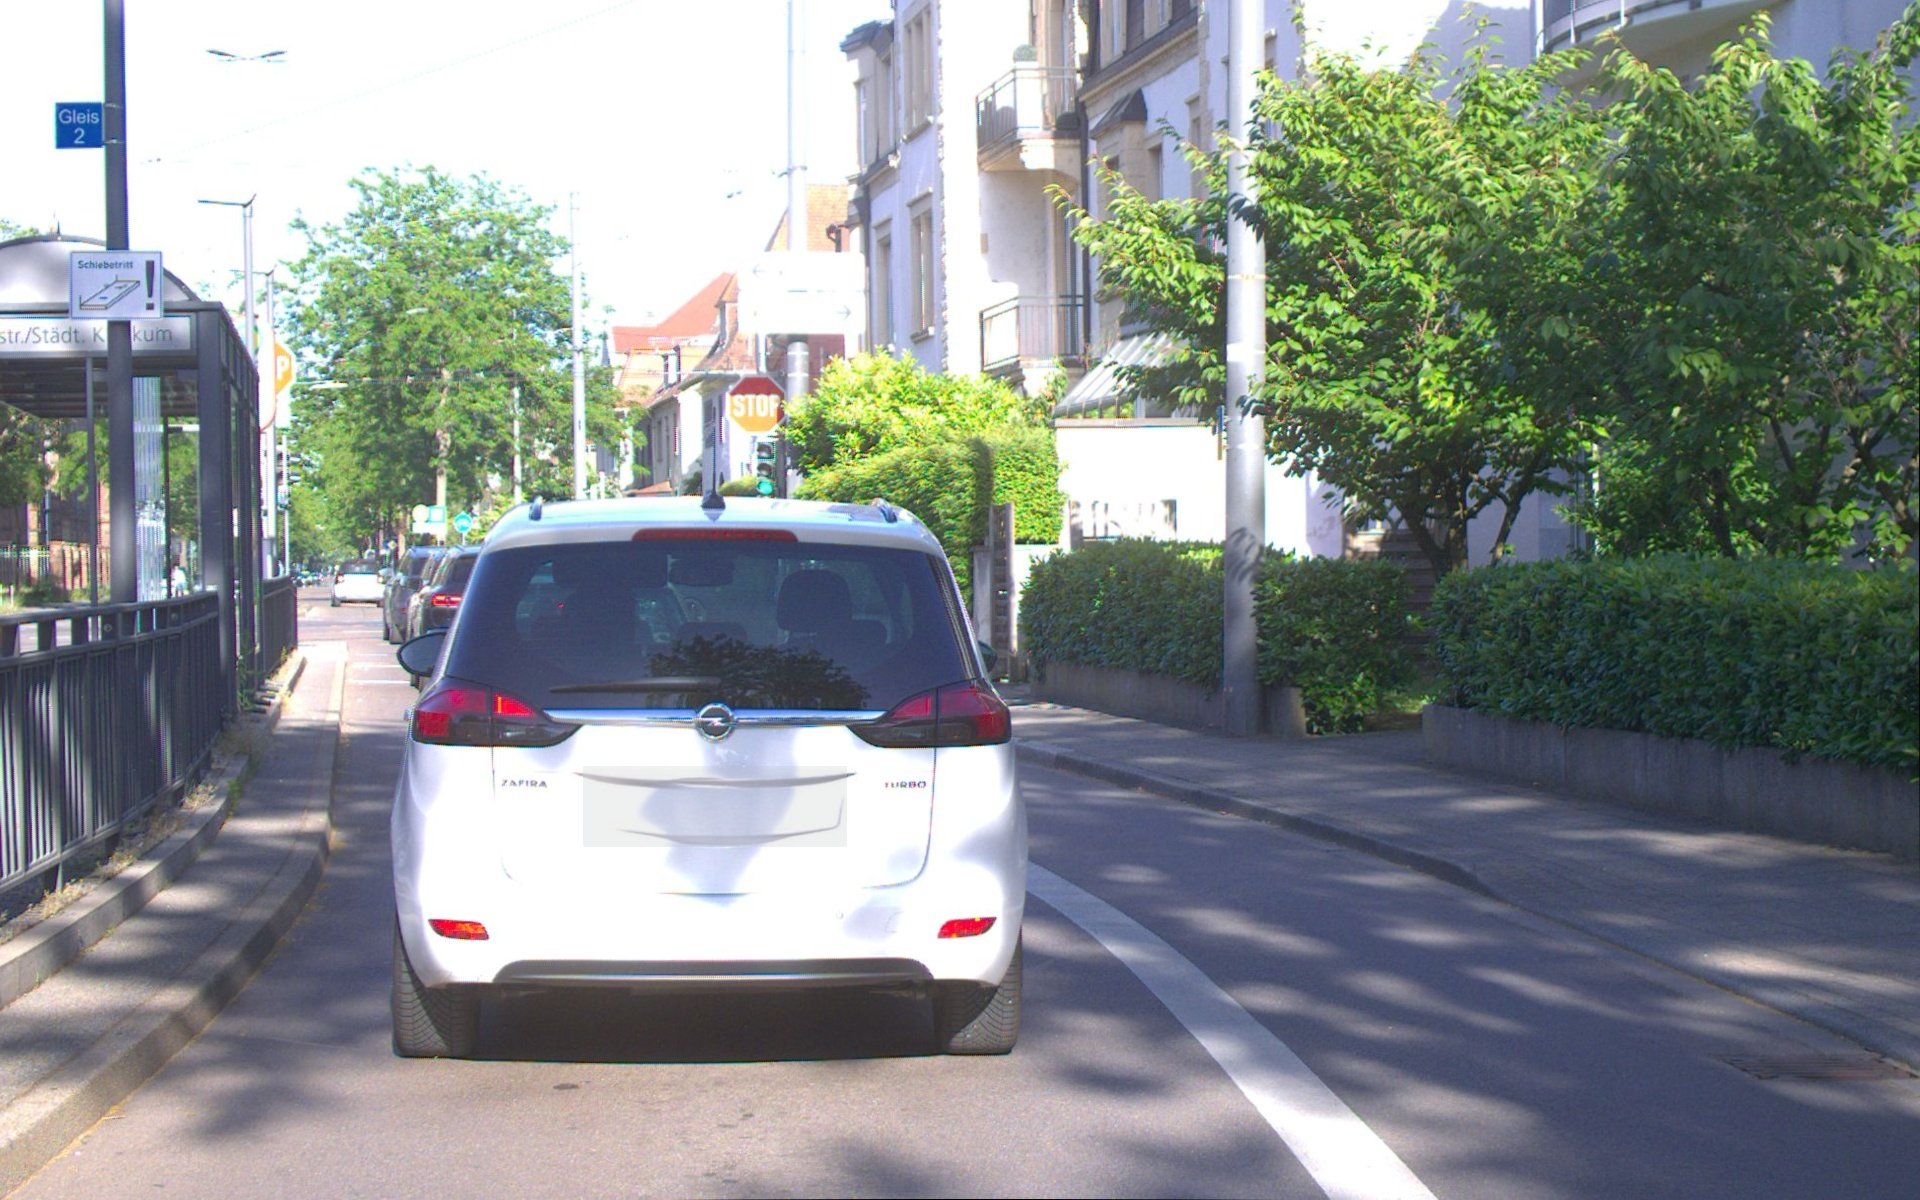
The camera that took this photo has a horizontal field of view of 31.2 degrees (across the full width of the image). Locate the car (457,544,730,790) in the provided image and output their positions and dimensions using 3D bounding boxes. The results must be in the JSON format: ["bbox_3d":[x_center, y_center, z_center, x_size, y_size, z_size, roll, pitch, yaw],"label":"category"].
[{"bbox_3d":[-2.447,0.365,22.402,1.586,1.415,3.901,-1,1,-8],"label":"car"}]

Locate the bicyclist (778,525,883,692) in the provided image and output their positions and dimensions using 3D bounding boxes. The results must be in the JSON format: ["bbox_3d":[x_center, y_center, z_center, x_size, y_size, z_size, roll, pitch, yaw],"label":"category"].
[{"bbox_3d":[-1.190,0.069,31.380,0.821,1.496,0.934,0,0,-10],"label":"bicyclist"}]

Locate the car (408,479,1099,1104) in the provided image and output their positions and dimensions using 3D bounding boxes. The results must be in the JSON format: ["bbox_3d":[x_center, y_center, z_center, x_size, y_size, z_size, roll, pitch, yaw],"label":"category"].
[{"bbox_3d":[-0.845,0.482,11.092,1.834,1.636,3.919,0,0,-9],"label":"car"}]

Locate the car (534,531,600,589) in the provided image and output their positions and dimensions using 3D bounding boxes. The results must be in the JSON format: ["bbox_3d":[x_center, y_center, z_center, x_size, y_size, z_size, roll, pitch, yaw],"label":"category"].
[{"bbox_3d":[-11.242,-1.129,98.125,1.775,1.626,3.881,0,0,-8],"label":"car"}]

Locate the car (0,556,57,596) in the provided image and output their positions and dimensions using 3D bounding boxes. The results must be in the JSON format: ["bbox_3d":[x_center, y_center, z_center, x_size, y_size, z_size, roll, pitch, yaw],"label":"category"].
[{"bbox_3d":[-37.471,-0.956,137.735,1.993,1.590,4.001,0,0,-7],"label":"car"}]

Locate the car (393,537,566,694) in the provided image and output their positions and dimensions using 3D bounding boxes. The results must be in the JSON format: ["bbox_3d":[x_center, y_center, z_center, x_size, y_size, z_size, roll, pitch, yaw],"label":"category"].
[{"bbox_3d":[-5.364,0.145,38.064,1.775,1.626,3.881,0,0,-10],"label":"car"}]

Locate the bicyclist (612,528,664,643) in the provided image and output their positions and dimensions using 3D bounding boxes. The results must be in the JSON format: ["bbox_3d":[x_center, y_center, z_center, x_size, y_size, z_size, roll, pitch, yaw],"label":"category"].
[{"bbox_3d":[-4.610,-0.206,49.159,0.685,1.629,1.016,0,0,-7],"label":"bicyclist"}]

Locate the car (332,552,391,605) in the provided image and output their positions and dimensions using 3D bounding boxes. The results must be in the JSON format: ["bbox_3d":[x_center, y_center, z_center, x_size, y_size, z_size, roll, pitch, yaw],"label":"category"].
[{"bbox_3d":[-19.604,-0.702,112.708,1.775,1.687,3.881,0,0,-8],"label":"car"}]

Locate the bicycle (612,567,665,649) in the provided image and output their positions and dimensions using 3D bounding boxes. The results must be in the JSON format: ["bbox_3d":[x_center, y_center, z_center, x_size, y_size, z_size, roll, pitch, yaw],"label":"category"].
[{"bbox_3d":[-4.598,0.102,49.096,0.685,1.153,1.620,0,0,-7],"label":"bicycle"}]

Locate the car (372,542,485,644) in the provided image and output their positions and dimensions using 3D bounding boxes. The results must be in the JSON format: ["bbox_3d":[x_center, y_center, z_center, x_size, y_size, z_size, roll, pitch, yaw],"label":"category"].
[{"bbox_3d":[-8.806,-0.133,57.167,1.775,1.626,3.881,0,0,-8],"label":"car"}]
